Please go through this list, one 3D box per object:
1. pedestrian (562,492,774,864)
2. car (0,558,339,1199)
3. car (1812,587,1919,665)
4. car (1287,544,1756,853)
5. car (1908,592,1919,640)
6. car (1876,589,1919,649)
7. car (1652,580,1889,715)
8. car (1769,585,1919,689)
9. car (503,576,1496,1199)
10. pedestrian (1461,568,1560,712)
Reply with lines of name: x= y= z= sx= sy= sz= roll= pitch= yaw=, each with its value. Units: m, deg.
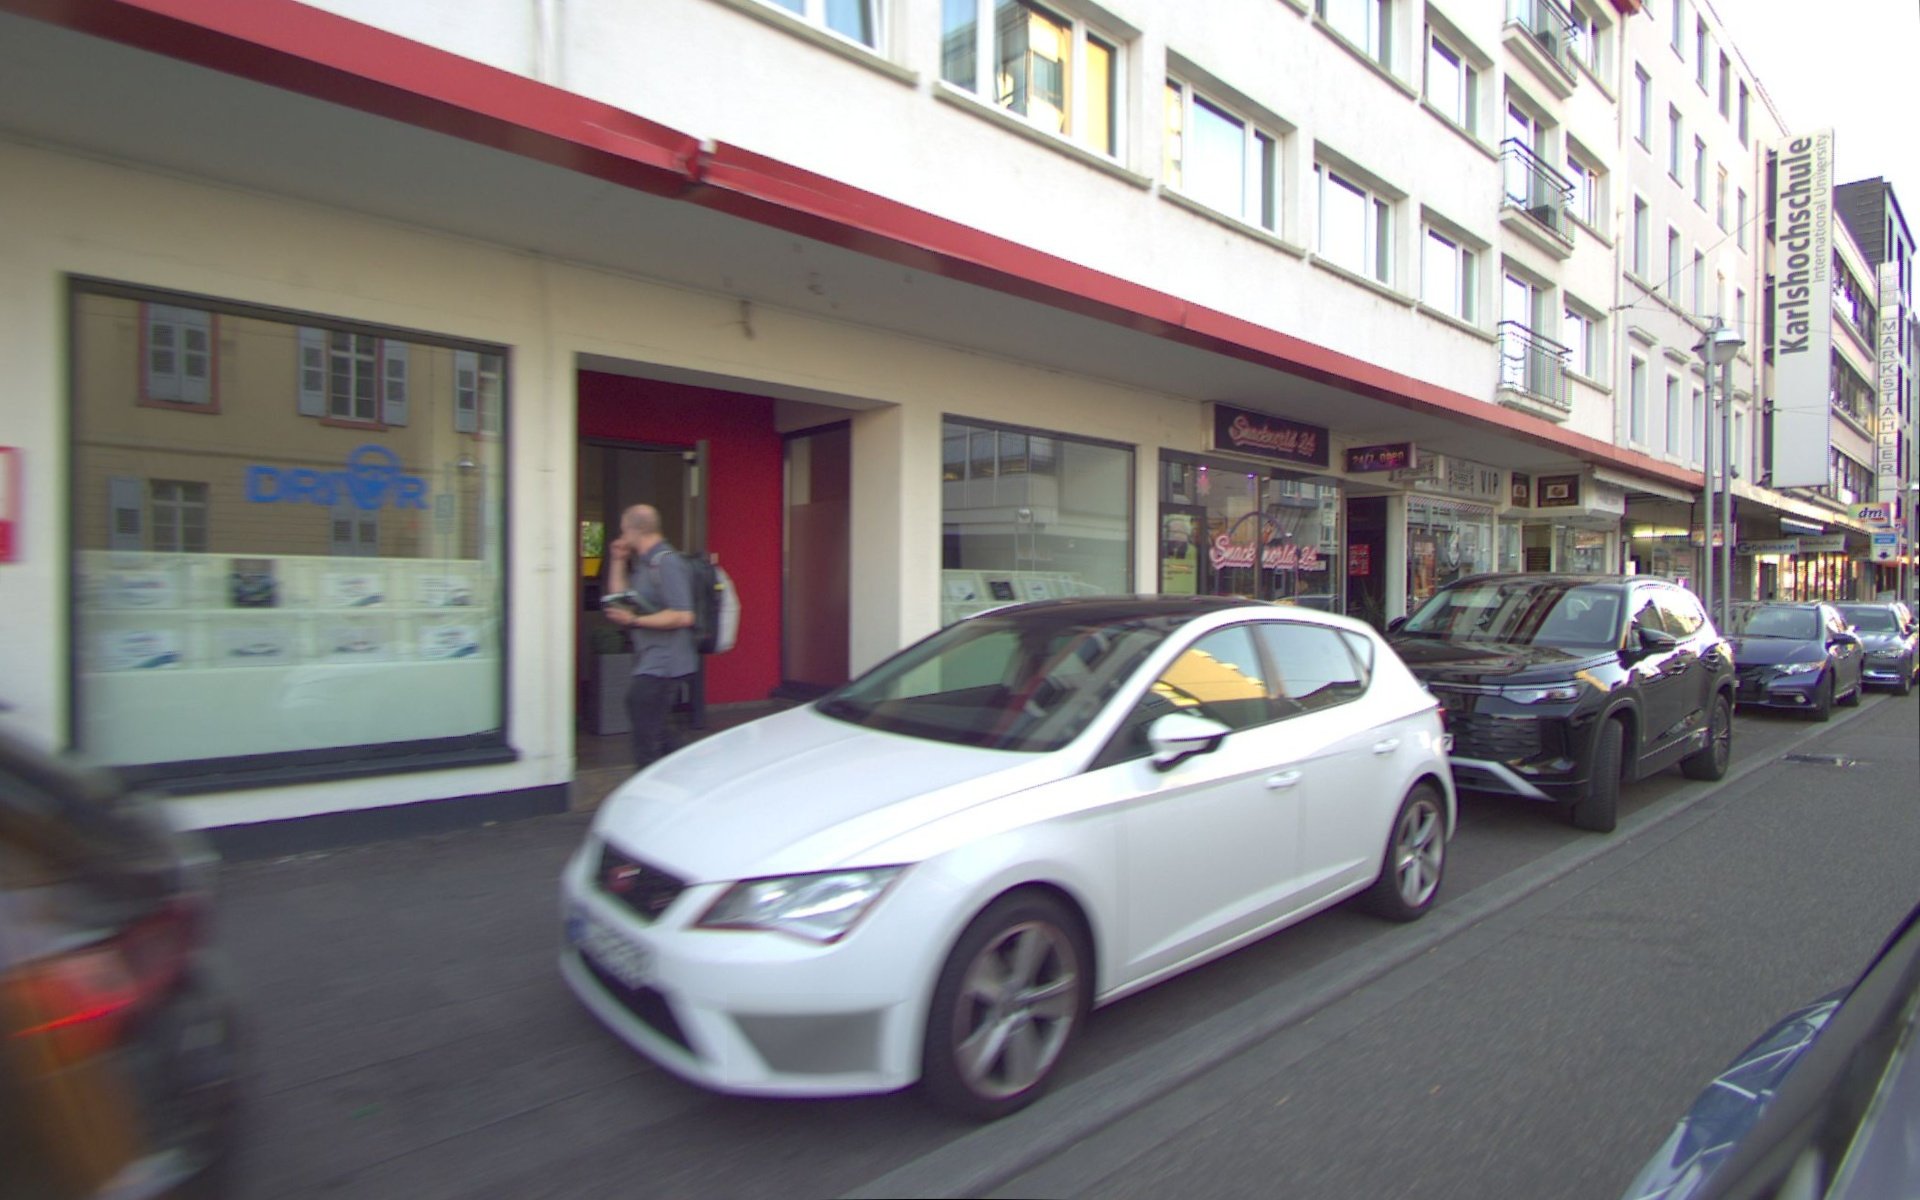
pedestrian: x=-1.665 y=0.387 z=5.779 sx=0.919 sy=1.904 sz=0.775 roll=0 pitch=1 yaw=-43
car: x=-3.253 y=0.699 z=0.676 sx=4.608 sy=1.431 sz=1.792 roll=-1 pitch=0 yaw=-42
car: x=19.527 y=0.487 z=21.429 sx=3.931 sy=1.500 sz=1.728 roll=-1 pitch=0 yaw=-42
car: x=4.506 y=0.532 z=7.802 sx=4.343 sy=1.722 sz=1.858 roll=-1 pitch=0 yaw=-42
car: x=31.853 y=0.482 z=32.532 sx=3.954 sy=1.481 sz=1.656 roll=-1 pitch=0 yaw=-42
car: x=26.711 y=0.481 z=27.875 sx=4.002 sy=1.533 sz=1.767 roll=-1 pitch=0 yaw=-42
car: x=11.009 y=0.552 z=13.637 sx=4.281 sy=1.542 sz=1.783 roll=0 pitch=-1 yaw=-42
car: x=15.635 y=0.546 z=17.560 sx=4.775 sy=1.552 sz=1.793 roll=-1 pitch=0 yaw=-43
car: x=0.531 y=0.651 z=4.188 sx=4.119 sy=1.439 sz=1.653 roll=-1 pitch=0 yaw=-42
pedestrian: x=6.423 y=0.433 z=11.805 sx=0.950 sy=1.593 sz=0.734 roll=0 pitch=0 yaw=-42
